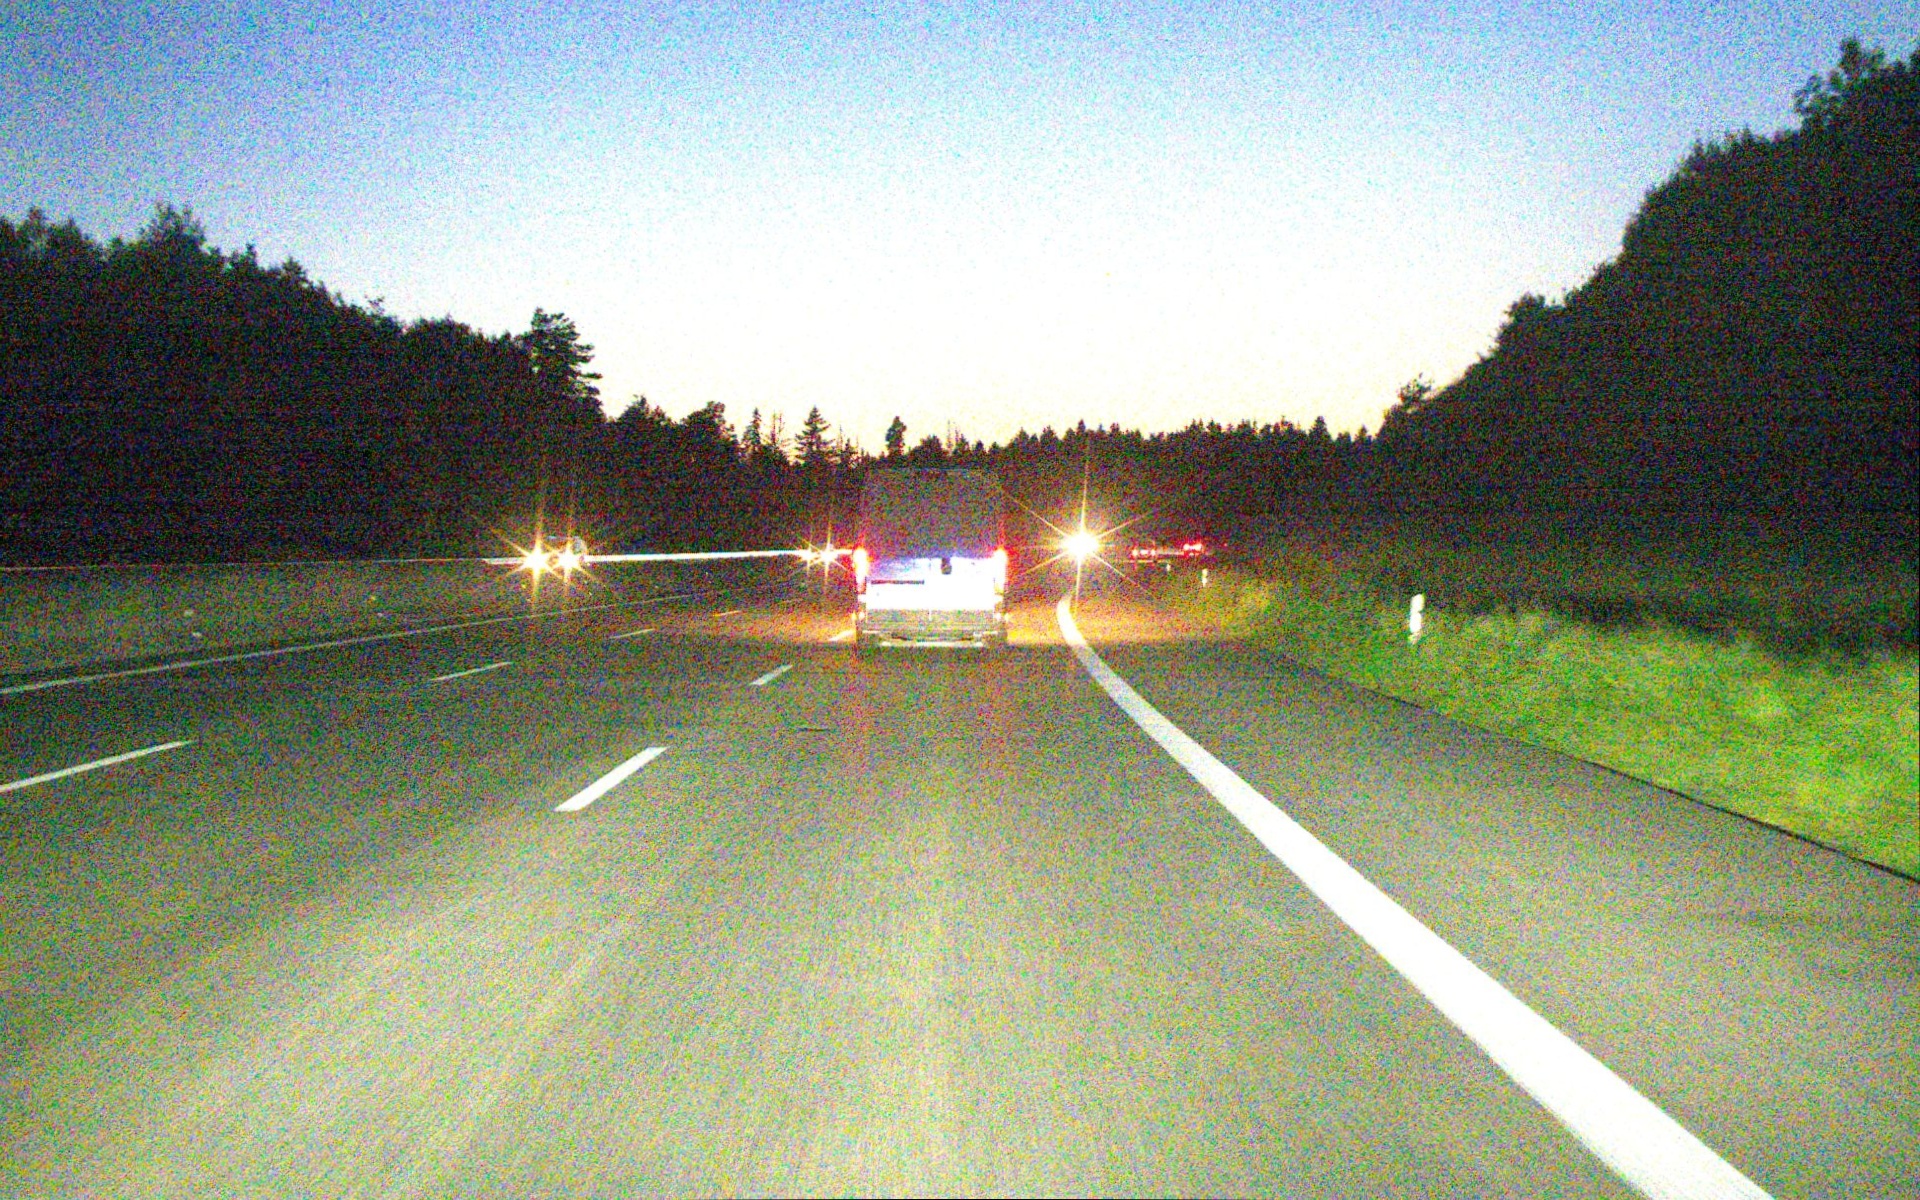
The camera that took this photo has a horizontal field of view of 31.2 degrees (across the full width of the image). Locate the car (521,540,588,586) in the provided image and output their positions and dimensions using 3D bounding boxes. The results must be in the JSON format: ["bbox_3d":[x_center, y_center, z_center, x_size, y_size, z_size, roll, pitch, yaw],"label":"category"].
[{"bbox_3d":[-16.260,-1.474,137.935,1.994,1.780,4.399,0,0,3],"label":"car"}]

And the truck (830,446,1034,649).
[{"bbox_3d":[-0.425,-0.715,48.902,2.630,2.615,8.685,0,0,-1],"label":"truck"}]

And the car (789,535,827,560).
[{"bbox_3d":[-10.178,-3.522,229.989,1.994,1.644,4.398,0,0,5],"label":"car"}]
